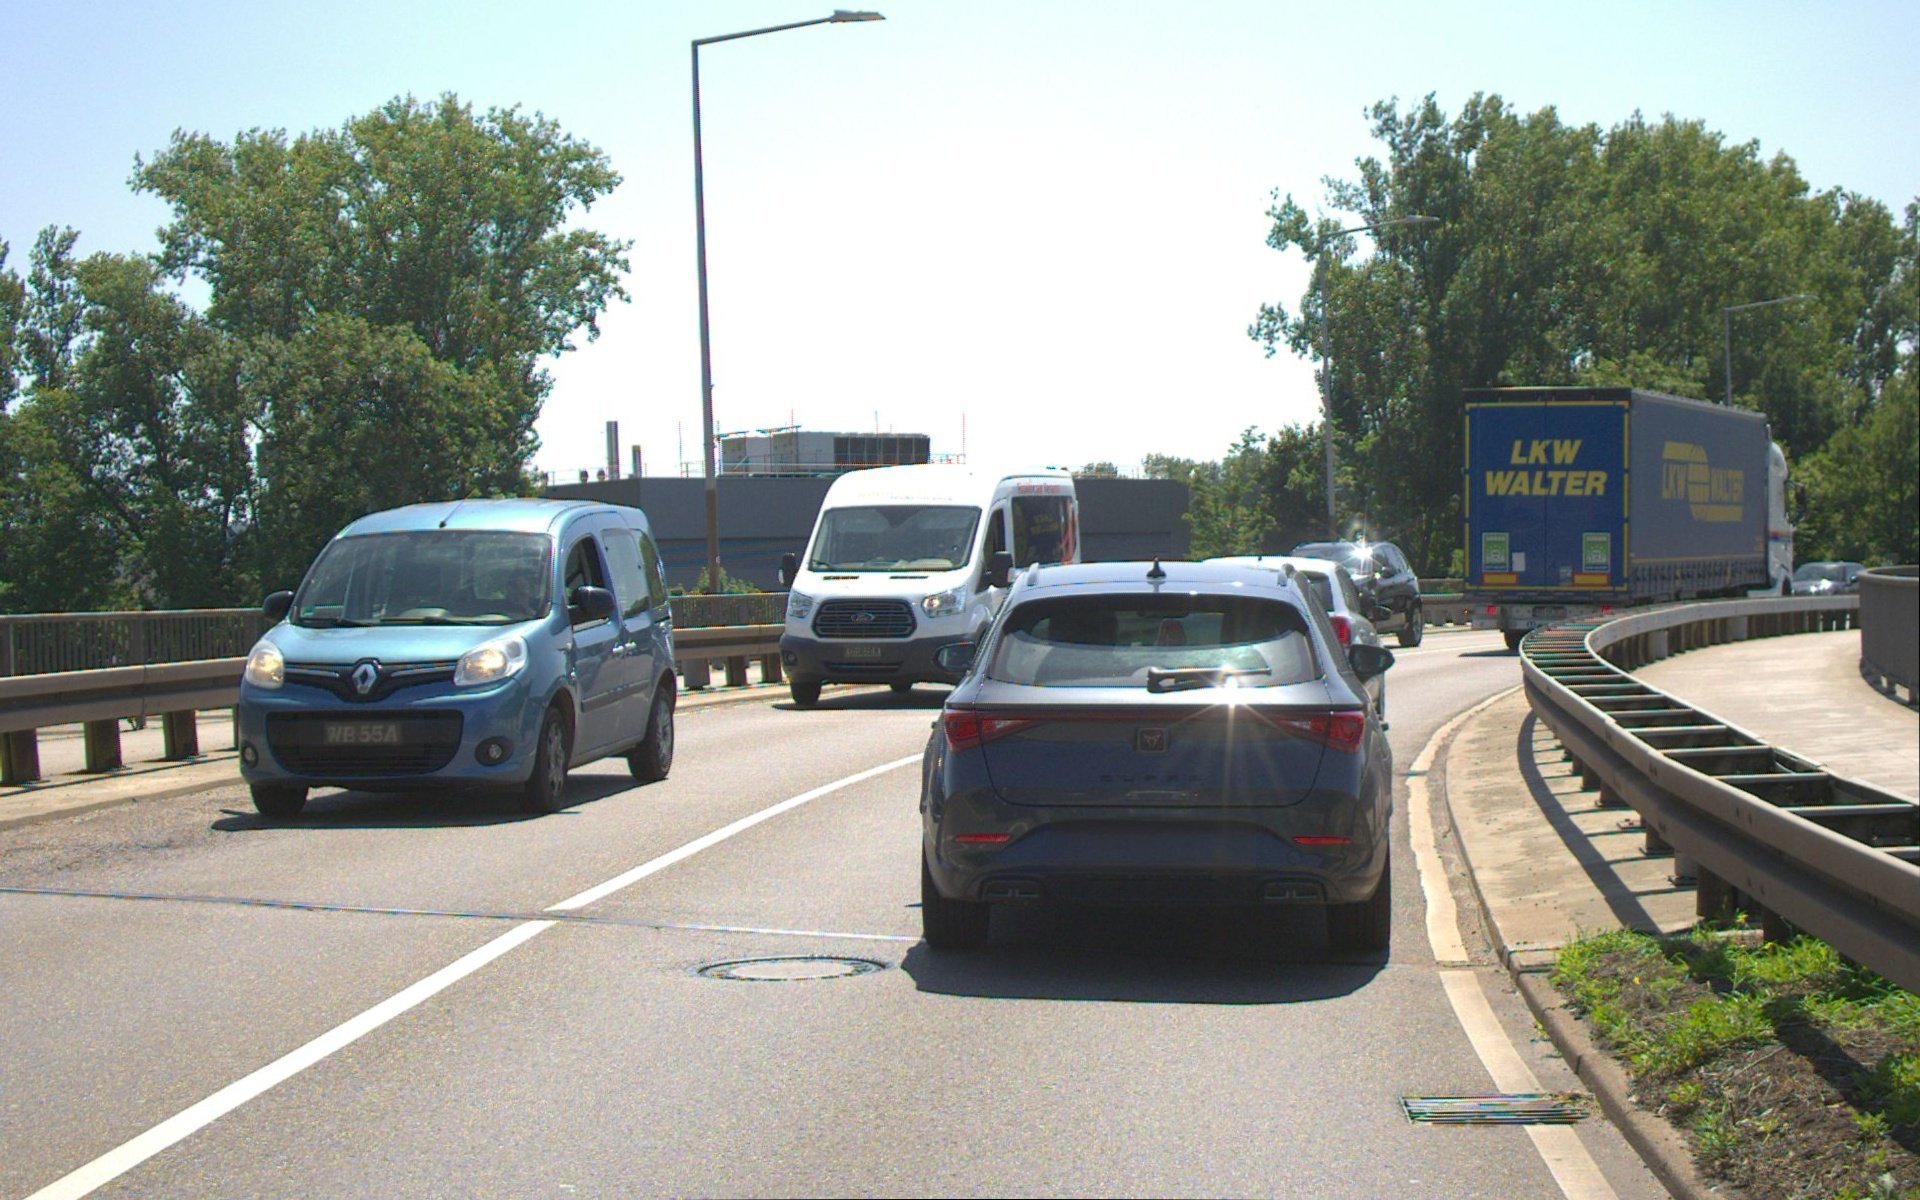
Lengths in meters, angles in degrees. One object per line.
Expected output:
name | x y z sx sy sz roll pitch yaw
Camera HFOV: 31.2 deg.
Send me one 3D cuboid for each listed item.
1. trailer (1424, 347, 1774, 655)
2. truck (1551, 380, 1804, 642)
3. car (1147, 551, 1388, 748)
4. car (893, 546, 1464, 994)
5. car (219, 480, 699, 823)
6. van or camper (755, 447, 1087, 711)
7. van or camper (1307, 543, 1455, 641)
trailer | 11.036 -1.546 57.898 3.138 4.598 12.933 1 1 22
truck | 13.420 -1.570 63.806 3.174 4.569 7.387 1 0 23
car | 2.535 0.354 27.725 1.594 1.456 3.543 1 1 10
car | 0.703 0.543 13.482 1.845 1.493 3.758 0 1 -2
car | -2.884 0.246 20.738 1.757 1.848 4.274 0 1 8
van or camper | -0.282 -0.287 36.048 2.049 2.529 5.880 -1 2 14
van or camper | 7.994 -0.158 64.928 1.995 1.755 4.694 -1 0 17
